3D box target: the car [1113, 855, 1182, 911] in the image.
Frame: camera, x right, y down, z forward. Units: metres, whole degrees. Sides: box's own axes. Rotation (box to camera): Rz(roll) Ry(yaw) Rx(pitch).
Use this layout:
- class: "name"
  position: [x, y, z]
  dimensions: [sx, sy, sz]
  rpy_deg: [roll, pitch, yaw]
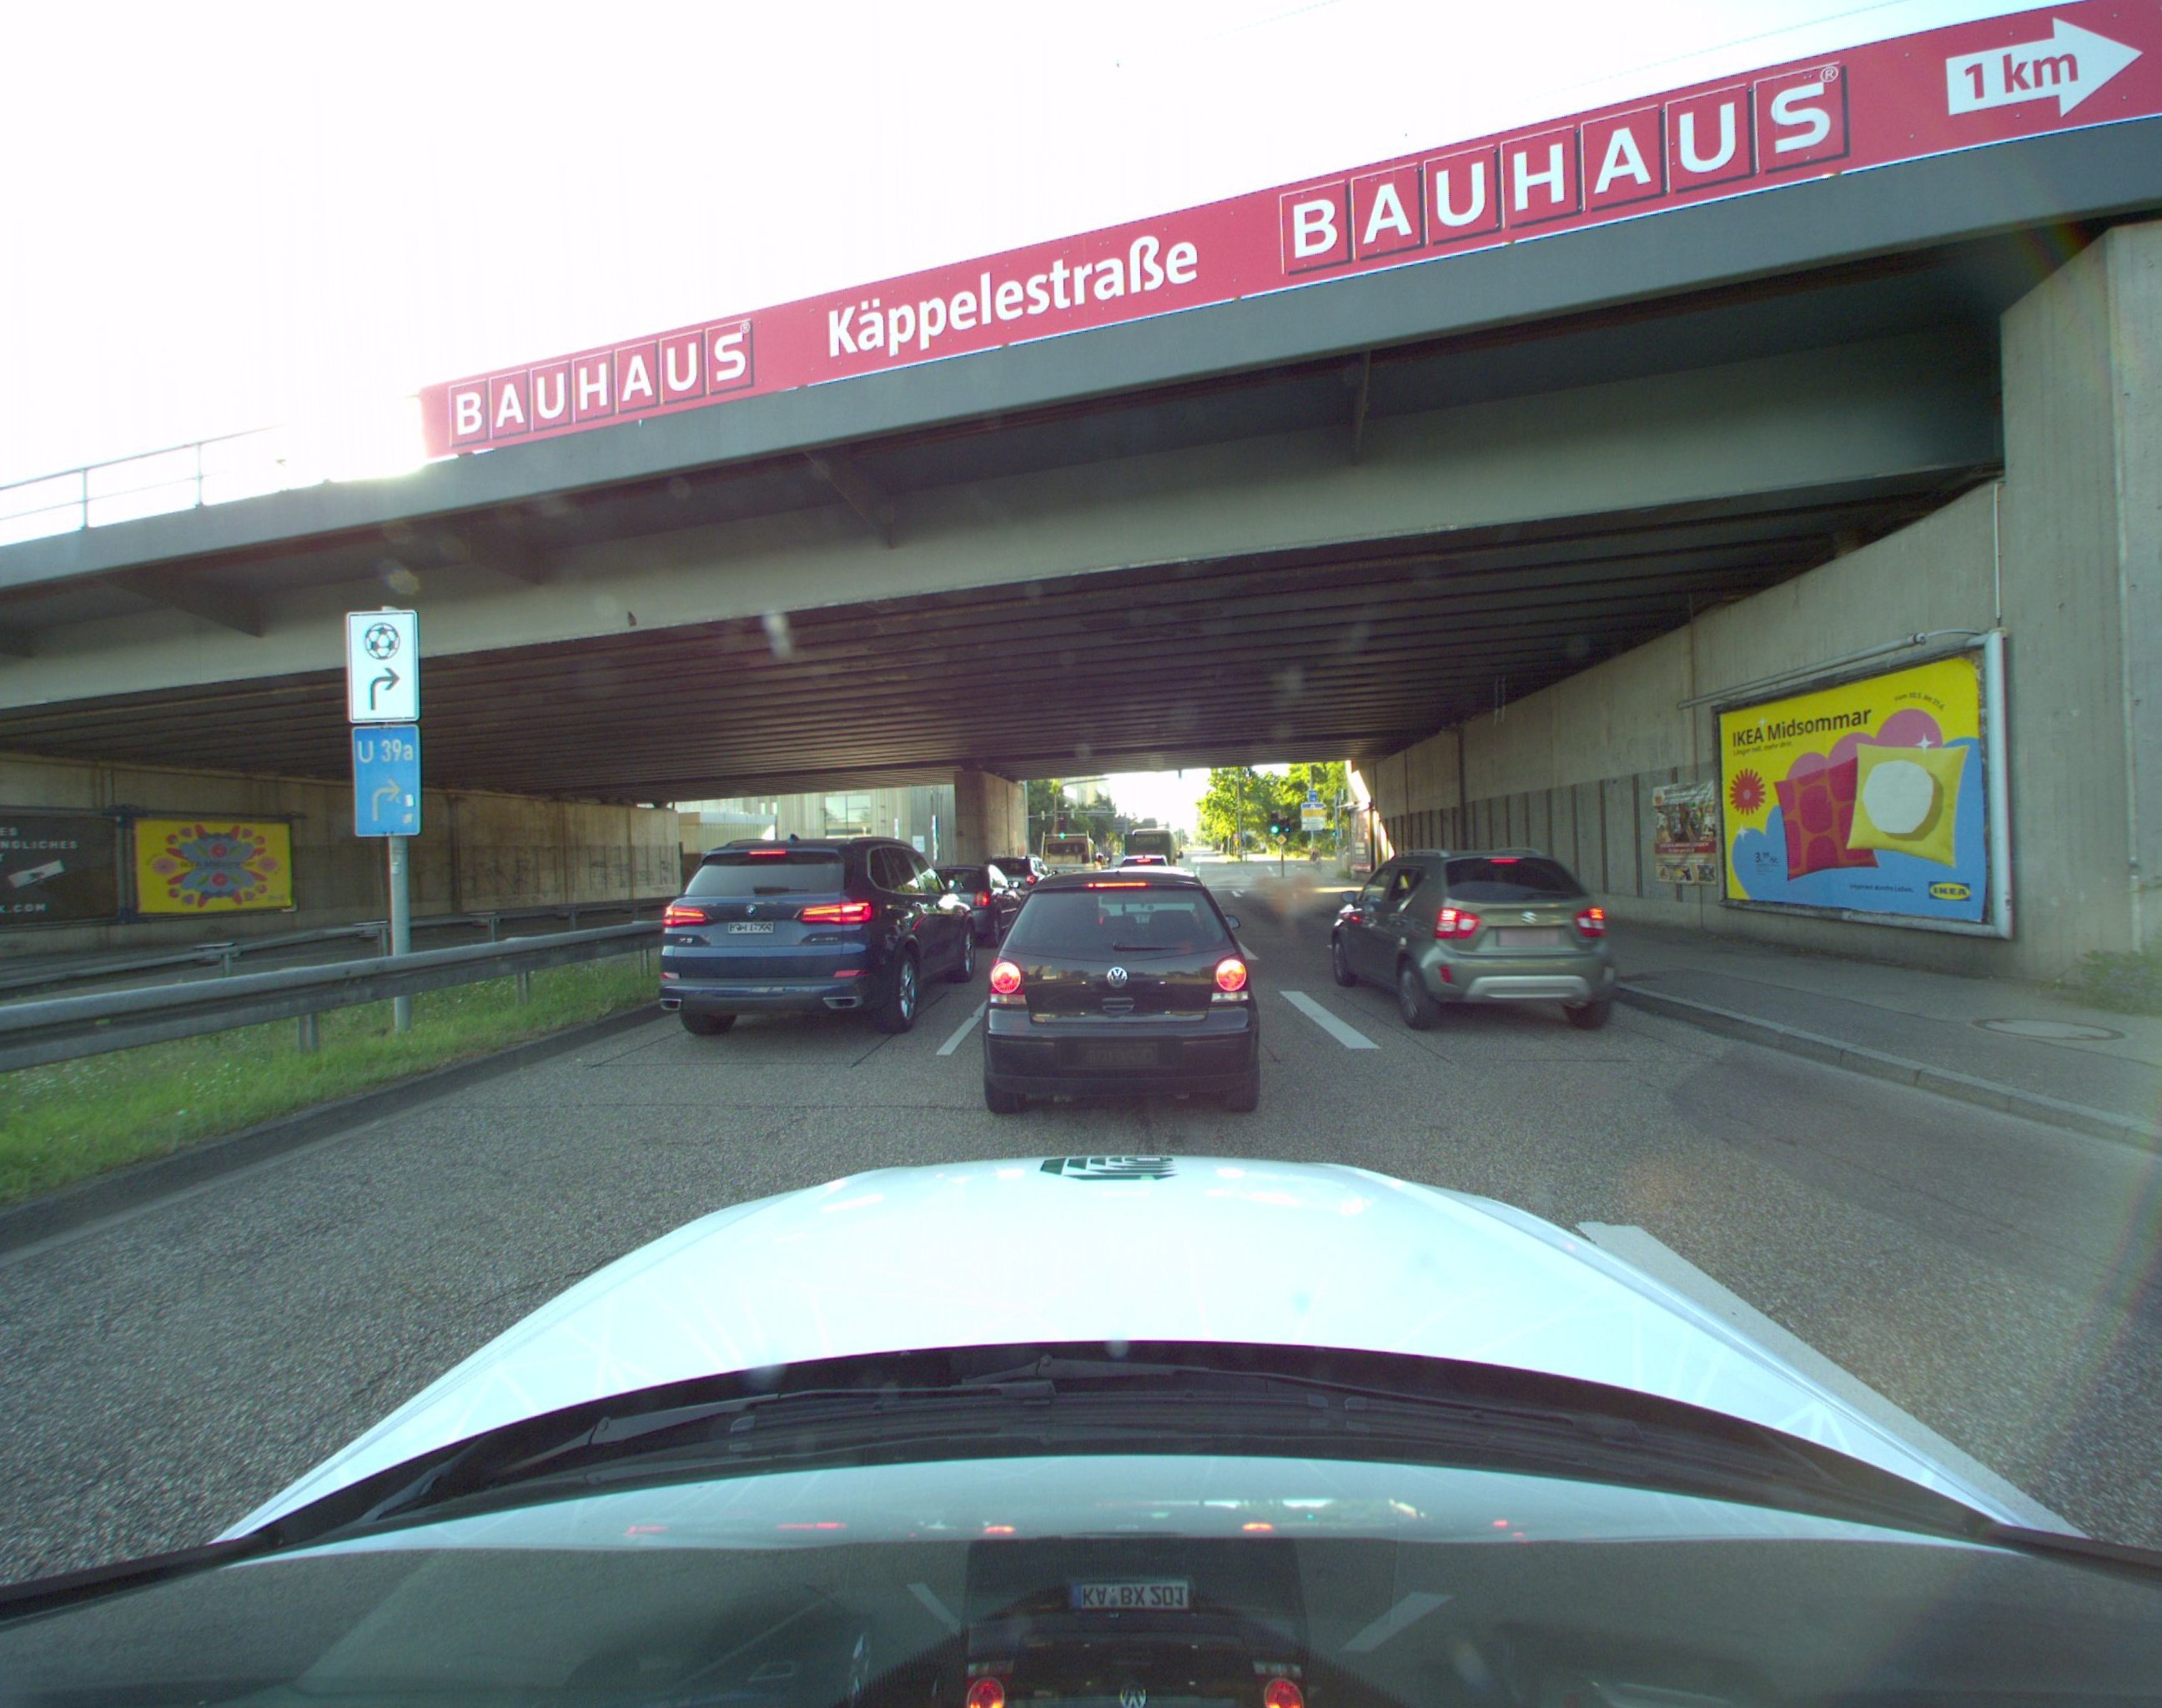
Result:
- class: "car"
  position: [2.077, 0.830, 24.604]
  dimensions: [1.786, 1.559, 4.009]
  rpy_deg: [-1, -1, 8]

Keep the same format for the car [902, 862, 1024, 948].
- class: "car"
  position: [-2.078, 0.860, 15.303]
  dimensions: [1.610, 1.409, 3.685]
  rpy_deg: [0, -1, 2]

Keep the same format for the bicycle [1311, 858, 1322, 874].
- class: "bicycle"
  position: [14.279, 0.720, 49.413]
  dimensions: [0.435, 0.914, 1.029]
  rpy_deg: [-3, -1, 9]

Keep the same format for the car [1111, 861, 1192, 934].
- class: "car"
  position: [1.487, 0.875, 17.918]
  dimensions: [1.572, 1.413, 4.065]
  rpy_deg: [0, 0, 3]

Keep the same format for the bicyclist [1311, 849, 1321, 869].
- class: "bicyclist"
  position: [14.257, 0.303, 49.405]
  dimensions: [0.425, 1.233, 0.461]
  rpy_deg: [-2, -1, 8]

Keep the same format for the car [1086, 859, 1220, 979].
- class: "car"
  position: [0.962, 0.782, 11.630]
  dimensions: [1.572, 1.413, 4.065]
  rpy_deg: [0, 0, 3]

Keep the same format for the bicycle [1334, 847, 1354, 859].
- class: "bicycle"
  position: [24.809, -0.099, 76.779]
  dimensions: [1.647, 0.991, 0.581]
  rpy_deg: [-3, 2, 25]

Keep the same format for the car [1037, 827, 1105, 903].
- class: "car"
  position: [-0.268, 0.384, 30.381]
  dimensions: [2.127, 2.576, 5.092]
  rpy_deg: [0, -1, 4]

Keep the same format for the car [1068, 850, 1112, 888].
- class: "car"
  position: [0.449, 0.665, 38.165]
  dimensions: [1.608, 1.679, 3.691]
  rpy_deg: [0, -1, 7]

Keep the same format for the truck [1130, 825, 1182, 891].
- class: "truck"
  position: [3.282, 0.180, 35.044]
  dimensions: [1.984, 2.668, 4.009]
  rpy_deg: [-1, -1, 8]

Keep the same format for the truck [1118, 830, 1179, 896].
- class: "truck"
  position: [2.602, 0.339, 30.609]
  dimensions: [1.984, 2.315, 4.009]
  rpy_deg: [-1, -1, 8]

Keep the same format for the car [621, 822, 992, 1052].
- class: "car"
  position: [-2.372, 0.652, 8.505]
  dimensions: [1.984, 1.734, 4.539]
  rpy_deg: [0, -1, 5]

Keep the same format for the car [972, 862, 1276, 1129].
- class: "car"
  position: [0.289, 0.772, 6.188]
  dimensions: [1.610, 1.409, 3.684]
  rpy_deg: [0, -1, 2]

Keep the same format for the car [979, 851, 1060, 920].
- class: "car"
  position: [-1.575, 0.797, 21.980]
  dimensions: [1.609, 1.679, 3.687]
  rpy_deg: [0, -1, 4]

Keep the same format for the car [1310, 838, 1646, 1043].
- class: "car"
  position: [3.747, 0.709, 8.557]
  dimensions: [1.729, 1.630, 4.065]
  rpy_deg: [0, -1, 3]
